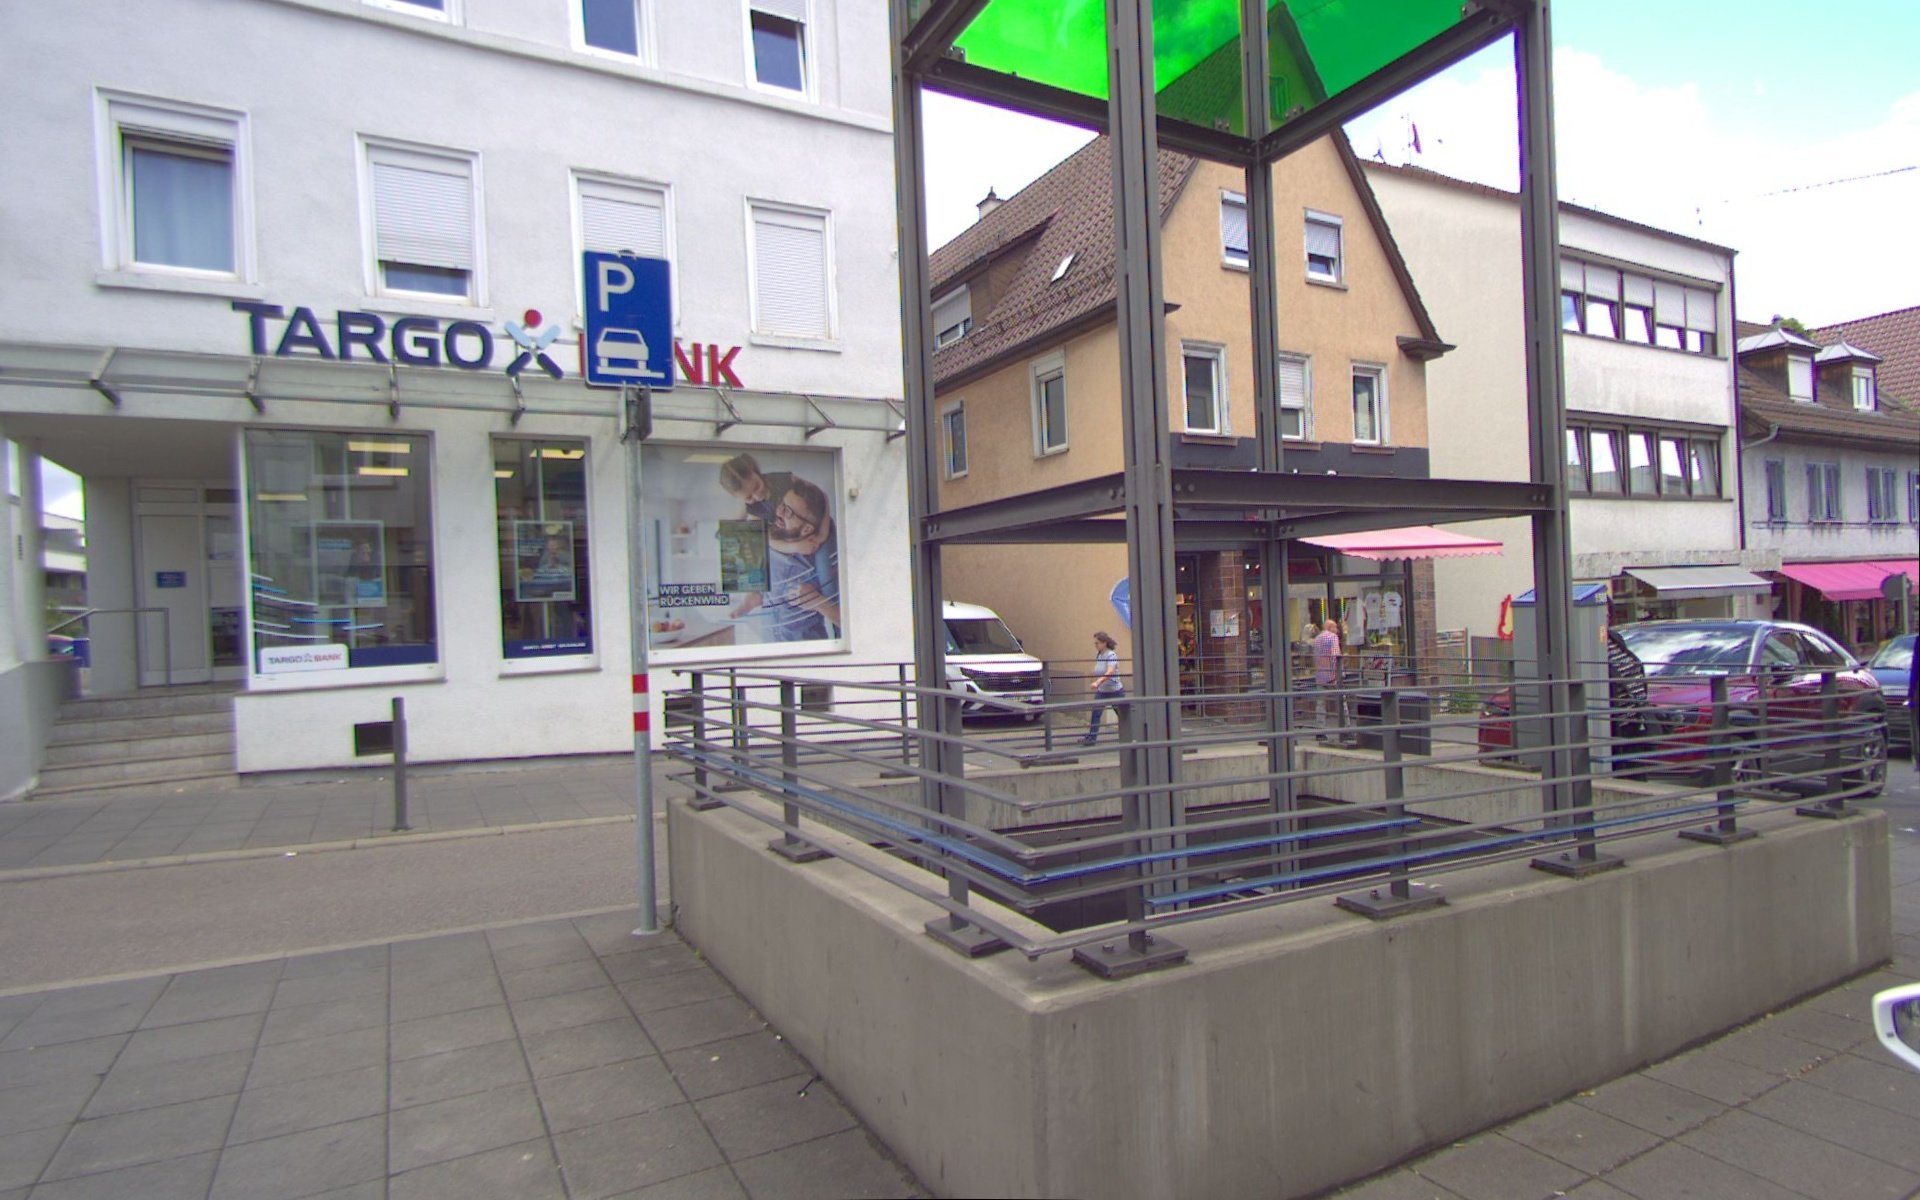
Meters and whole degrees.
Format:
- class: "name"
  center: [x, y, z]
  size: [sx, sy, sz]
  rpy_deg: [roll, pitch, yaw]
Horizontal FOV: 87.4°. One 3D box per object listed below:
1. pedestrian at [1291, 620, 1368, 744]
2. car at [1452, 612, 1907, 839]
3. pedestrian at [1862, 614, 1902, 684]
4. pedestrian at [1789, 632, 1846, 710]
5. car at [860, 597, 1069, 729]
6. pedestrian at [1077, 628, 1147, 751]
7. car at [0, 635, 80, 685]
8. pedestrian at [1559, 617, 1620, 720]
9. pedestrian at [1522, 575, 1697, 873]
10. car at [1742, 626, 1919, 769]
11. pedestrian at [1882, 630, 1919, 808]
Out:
- class: "pedestrian"
  center: [5.265, 1.144, 14.314]
  size: [0.816, 1.711, 0.637]
  rpy_deg: [1, -1, -26]
- class: "car"
  center: [6.394, 0.931, 8.825]
  size: [4.144, 1.563, 1.730]
  rpy_deg: [1, 0, -31]
- class: "pedestrian"
  center: [22.933, 1.202, 24.992]
  size: [0.570, 1.711, 0.575]
  rpy_deg: [1, 0, -31]
- class: "pedestrian"
  center: [17.777, 1.456, 20.821]
  size: [0.936, 1.559, 0.660]
  rpy_deg: [1, -1, -32]
- class: "car"
  center: [-0.062, 0.931, 17.003]
  size: [1.859, 1.898, 4.054]
  rpy_deg: [1, 1, -28]
- class: "pedestrian"
  center: [2.032, 1.179, 13.450]
  size: [0.708, 1.594, 0.562]
  rpy_deg: [1, -3, -30]
- class: "car"
  center: [-33.769, 2.073, 35.118]
  size: [4.165, 1.630, 1.860]
  rpy_deg: [1, 0, -31]
- class: "pedestrian"
  center: [10.767, 1.160, 17.191]
  size: [0.653, 1.711, 0.646]
  rpy_deg: [-1, -1, 10]
- class: "pedestrian"
  center: [3.989, 0.713, 6.174]
  size: [0.889, 1.694, 0.531]
  rpy_deg: [0, -1, -27]
- class: "car"
  center: [11.622, 1.117, 12.457]
  size: [3.838, 1.495, 1.731]
  rpy_deg: [1, 0, -30]
- class: "pedestrian"
  center: [8.060, 0.975, 8.307]
  size: [0.486, 1.450, 0.464]
  rpy_deg: [1, -3, -30]
